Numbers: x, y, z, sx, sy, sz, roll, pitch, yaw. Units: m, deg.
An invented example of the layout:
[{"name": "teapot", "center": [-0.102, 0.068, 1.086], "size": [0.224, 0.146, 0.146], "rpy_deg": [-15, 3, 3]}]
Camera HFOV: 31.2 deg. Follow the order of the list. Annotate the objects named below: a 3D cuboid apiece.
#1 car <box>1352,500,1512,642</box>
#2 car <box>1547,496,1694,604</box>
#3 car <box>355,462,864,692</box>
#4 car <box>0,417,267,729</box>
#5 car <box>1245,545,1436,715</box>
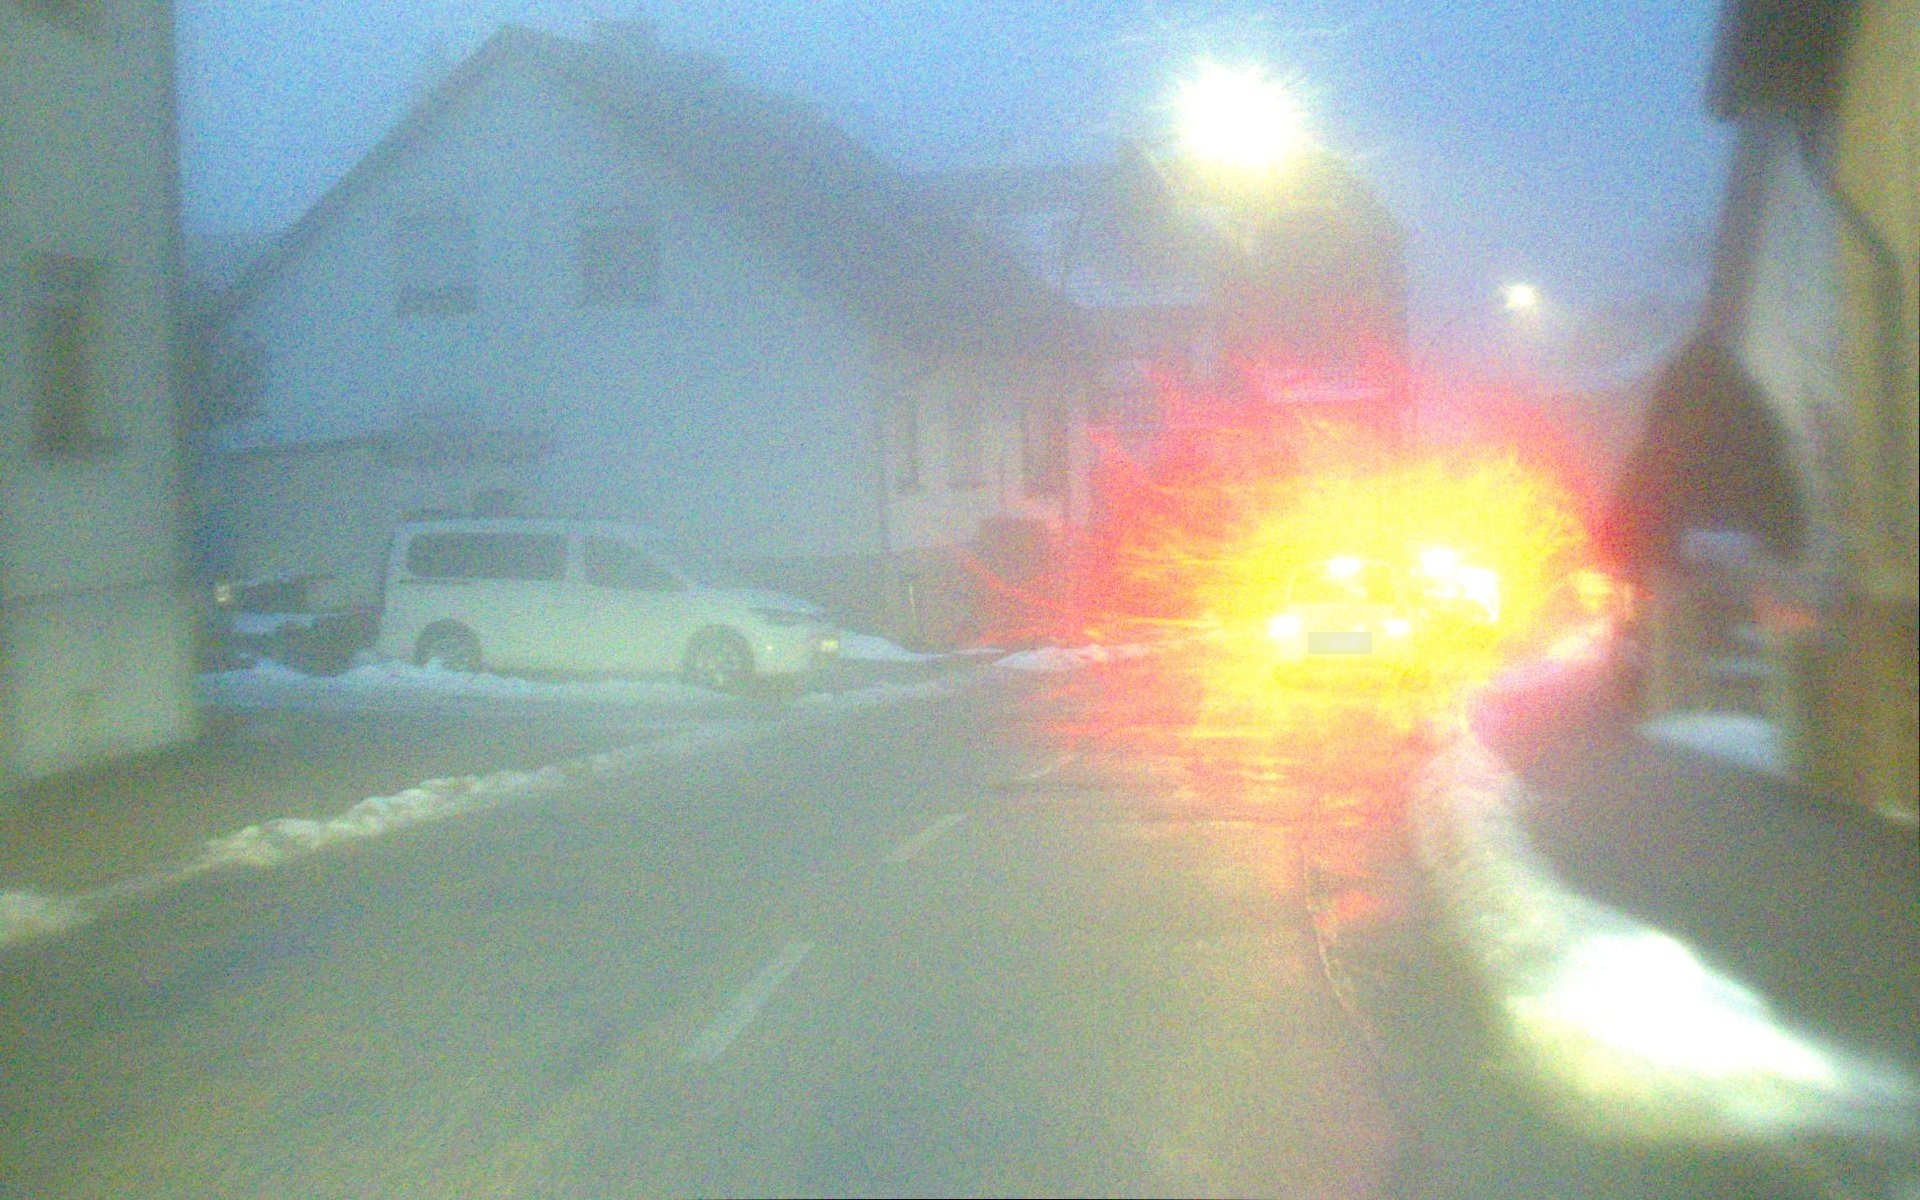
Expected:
[{"name": "car", "center": [7.540, -0.497, 54.606], "size": [1.995, 1.831, 3.999], "rpy_deg": [-3, 4, 14]}, {"name": "car", "center": [12.967, -1.007, 67.247], "size": [2.253, 1.634, 4.847], "rpy_deg": [-3, 4, 17]}, {"name": "car", "center": [-3.627, -0.250, 35.833], "size": [4.736, 2.006, 1.999], "rpy_deg": [-3, 4, 17]}, {"name": "car", "center": [-7.732, -0.188, 27.552], "size": [3.986, 2.269, 2.001], "rpy_deg": [-5, 4, -14]}, {"name": "car", "center": [4.473, 0.302, 39.934], "size": [1.994, 1.502, 4.000], "rpy_deg": [-3, 4, 8]}]
